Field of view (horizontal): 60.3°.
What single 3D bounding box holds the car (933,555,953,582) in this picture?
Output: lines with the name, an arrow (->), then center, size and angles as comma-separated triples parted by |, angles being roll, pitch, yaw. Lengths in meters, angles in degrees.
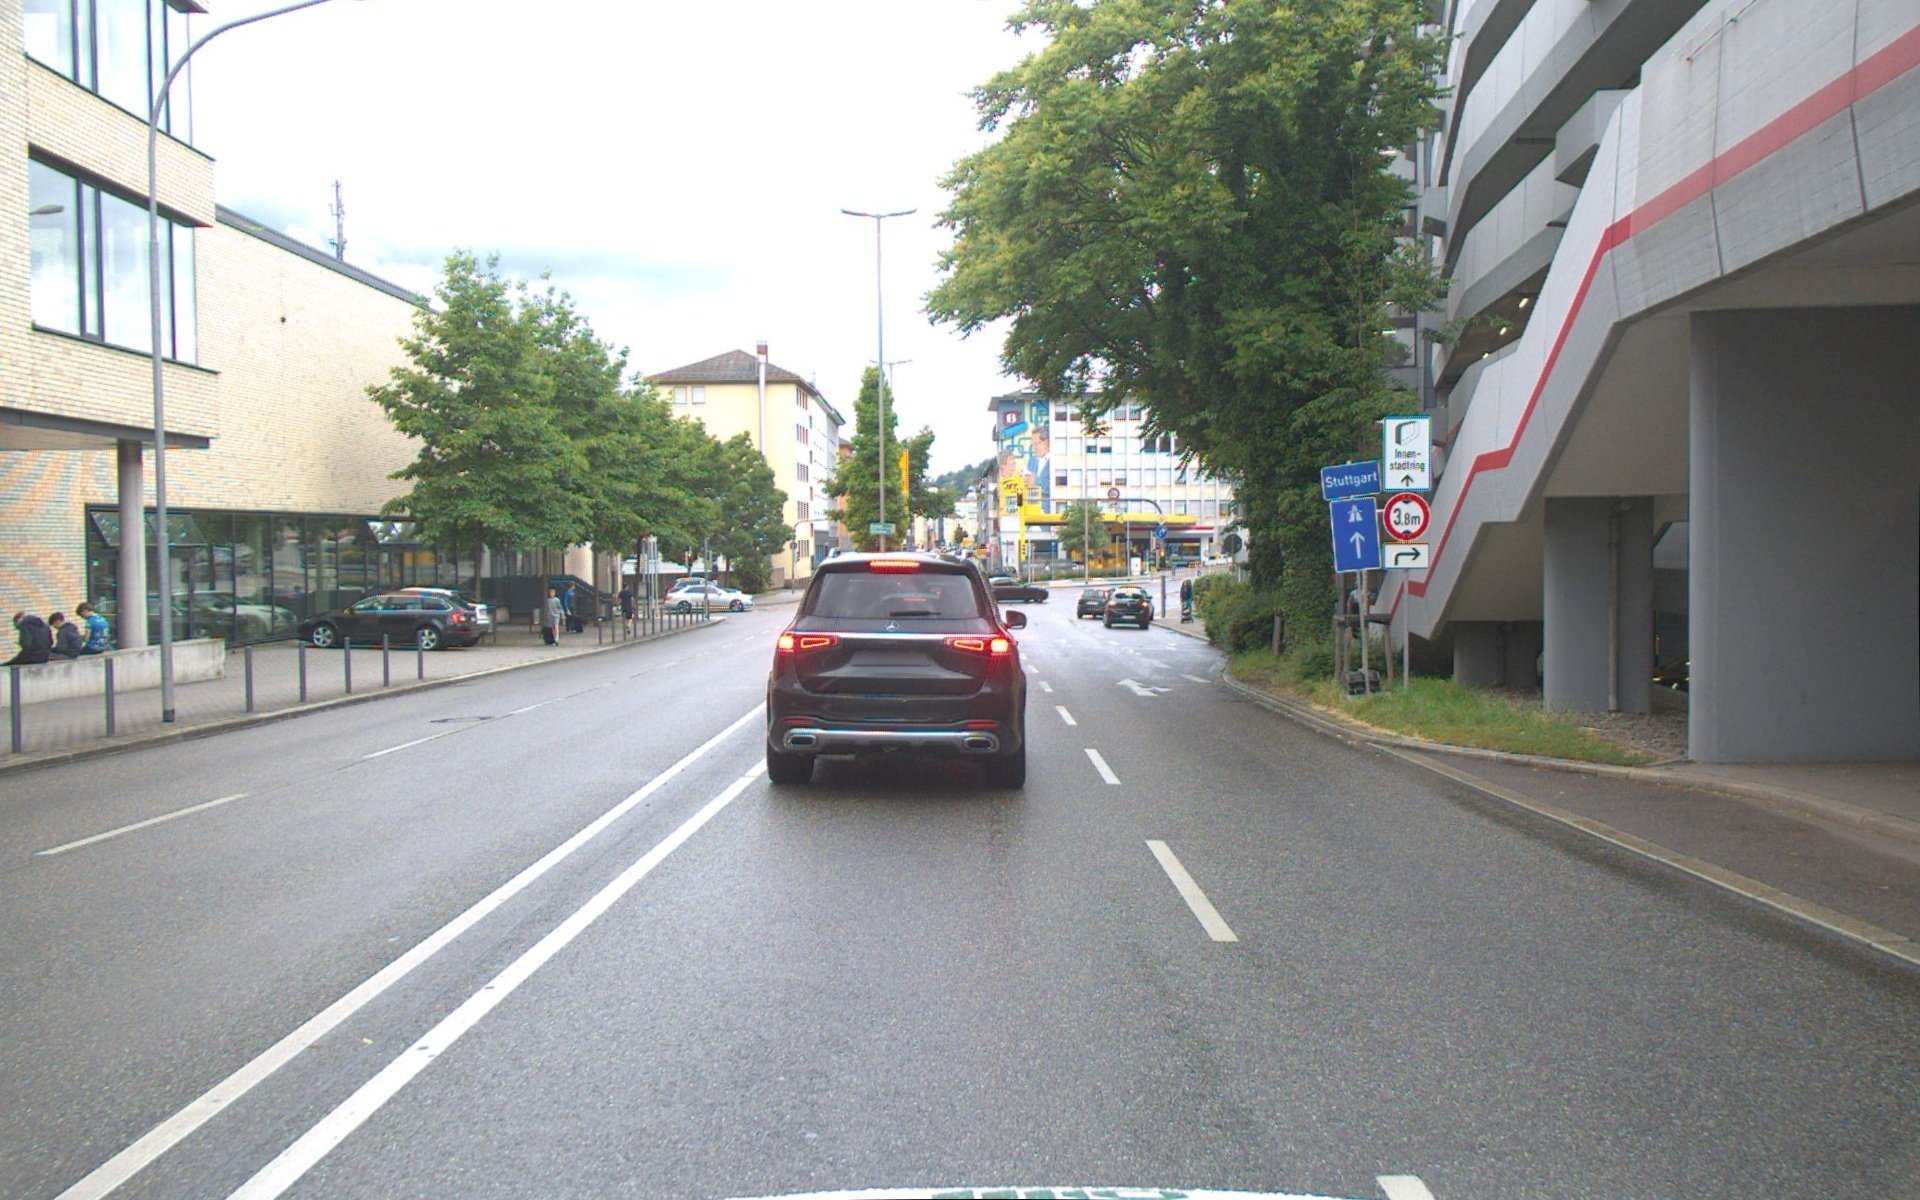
car -> -1.796, -3.313, 172.572 | 1.953, 2.045, 4.007 | 1, 11, -1

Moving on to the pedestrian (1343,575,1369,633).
pedestrian -> 10.612, 0.103, 44.335 | 0.569, 1.527, 0.504 | 1, -1, 5

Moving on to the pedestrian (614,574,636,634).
pedestrian -> -11.622, 0.148, 57.454 | 0.576, 2.049, 0.749 | 1, -1, -2

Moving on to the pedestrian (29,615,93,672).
pedestrian -> -13.673, 0.656, 25.168 | 0.574, 0.859, 0.727 | 0, -1, 0

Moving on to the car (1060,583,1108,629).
car -> 5.799, 0.284, 77.702 | 1.952, 2.049, 4.000 | 1, 0, 0

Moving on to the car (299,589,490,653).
car -> -14.813, 0.527, 43.527 | 4.382, 1.615, 1.997 | 0, 0, -7

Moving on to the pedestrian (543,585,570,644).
pedestrian -> -11.986, 0.436, 49.138 | 0.662, 1.727, 0.479 | 1, 0, -1

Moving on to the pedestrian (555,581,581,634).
pedestrian -> -13.380, 0.266, 56.459 | 0.674, 1.756, 0.754 | 1, -2, -1

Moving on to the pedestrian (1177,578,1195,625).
pedestrian -> 9.611, 0.071, 70.173 | 0.648, 1.951, 0.729 | 1, -1, 14

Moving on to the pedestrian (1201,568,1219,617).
pedestrian -> 10.166, -0.308, 67.309 | 0.607, 1.969, 0.610 | 1, -1, -1

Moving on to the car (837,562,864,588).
car -> -8.789, -1.998, 133.248 | 1.953, 1.908, 5.140 | 1, 0, -2

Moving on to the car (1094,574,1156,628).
car -> 6.544, 0.022, 65.893 | 1.953, 2.049, 3.999 | 1, 1, -2

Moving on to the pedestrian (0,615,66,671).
pedestrian -> -13.678, 0.627, 24.367 | 0.585, 0.800, 0.760 | 1, -1, 0

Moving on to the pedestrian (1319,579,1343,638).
pedestrian -> 9.961, 0.218, 44.396 | 0.539, 1.559, 0.488 | 1, -1, 6

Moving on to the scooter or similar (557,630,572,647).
scooter or similar -> -11.854, 1.157, 49.541 | 0.274, 0.509, 0.616 | 1, 0, 0

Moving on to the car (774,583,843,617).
car -> -8.977, -0.011, 97.882 | 3.917, 1.977, 1.994 | 0, 0, -12

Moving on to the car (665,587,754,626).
car -> -13.480, 0.317, 89.209 | 4.714, 2.049, 1.997 | 0, 1, -8

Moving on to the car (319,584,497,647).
car -> -15.328, 0.428, 46.110 | 4.330, 1.601, 1.998 | 1, 2, -5

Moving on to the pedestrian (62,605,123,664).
pedestrian -> -13.673, 0.537, 26.073 | 0.667, 0.901, 0.524 | 1, -1, 0

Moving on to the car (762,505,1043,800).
car -> -0.445, 0.385, 13.750 | 1.953, 2.049, 3.999 | 1, 0, -1

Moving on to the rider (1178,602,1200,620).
rider -> 9.638, 0.466, 69.549 | 0.621, 0.753, 0.692 | 1, -1, 41
